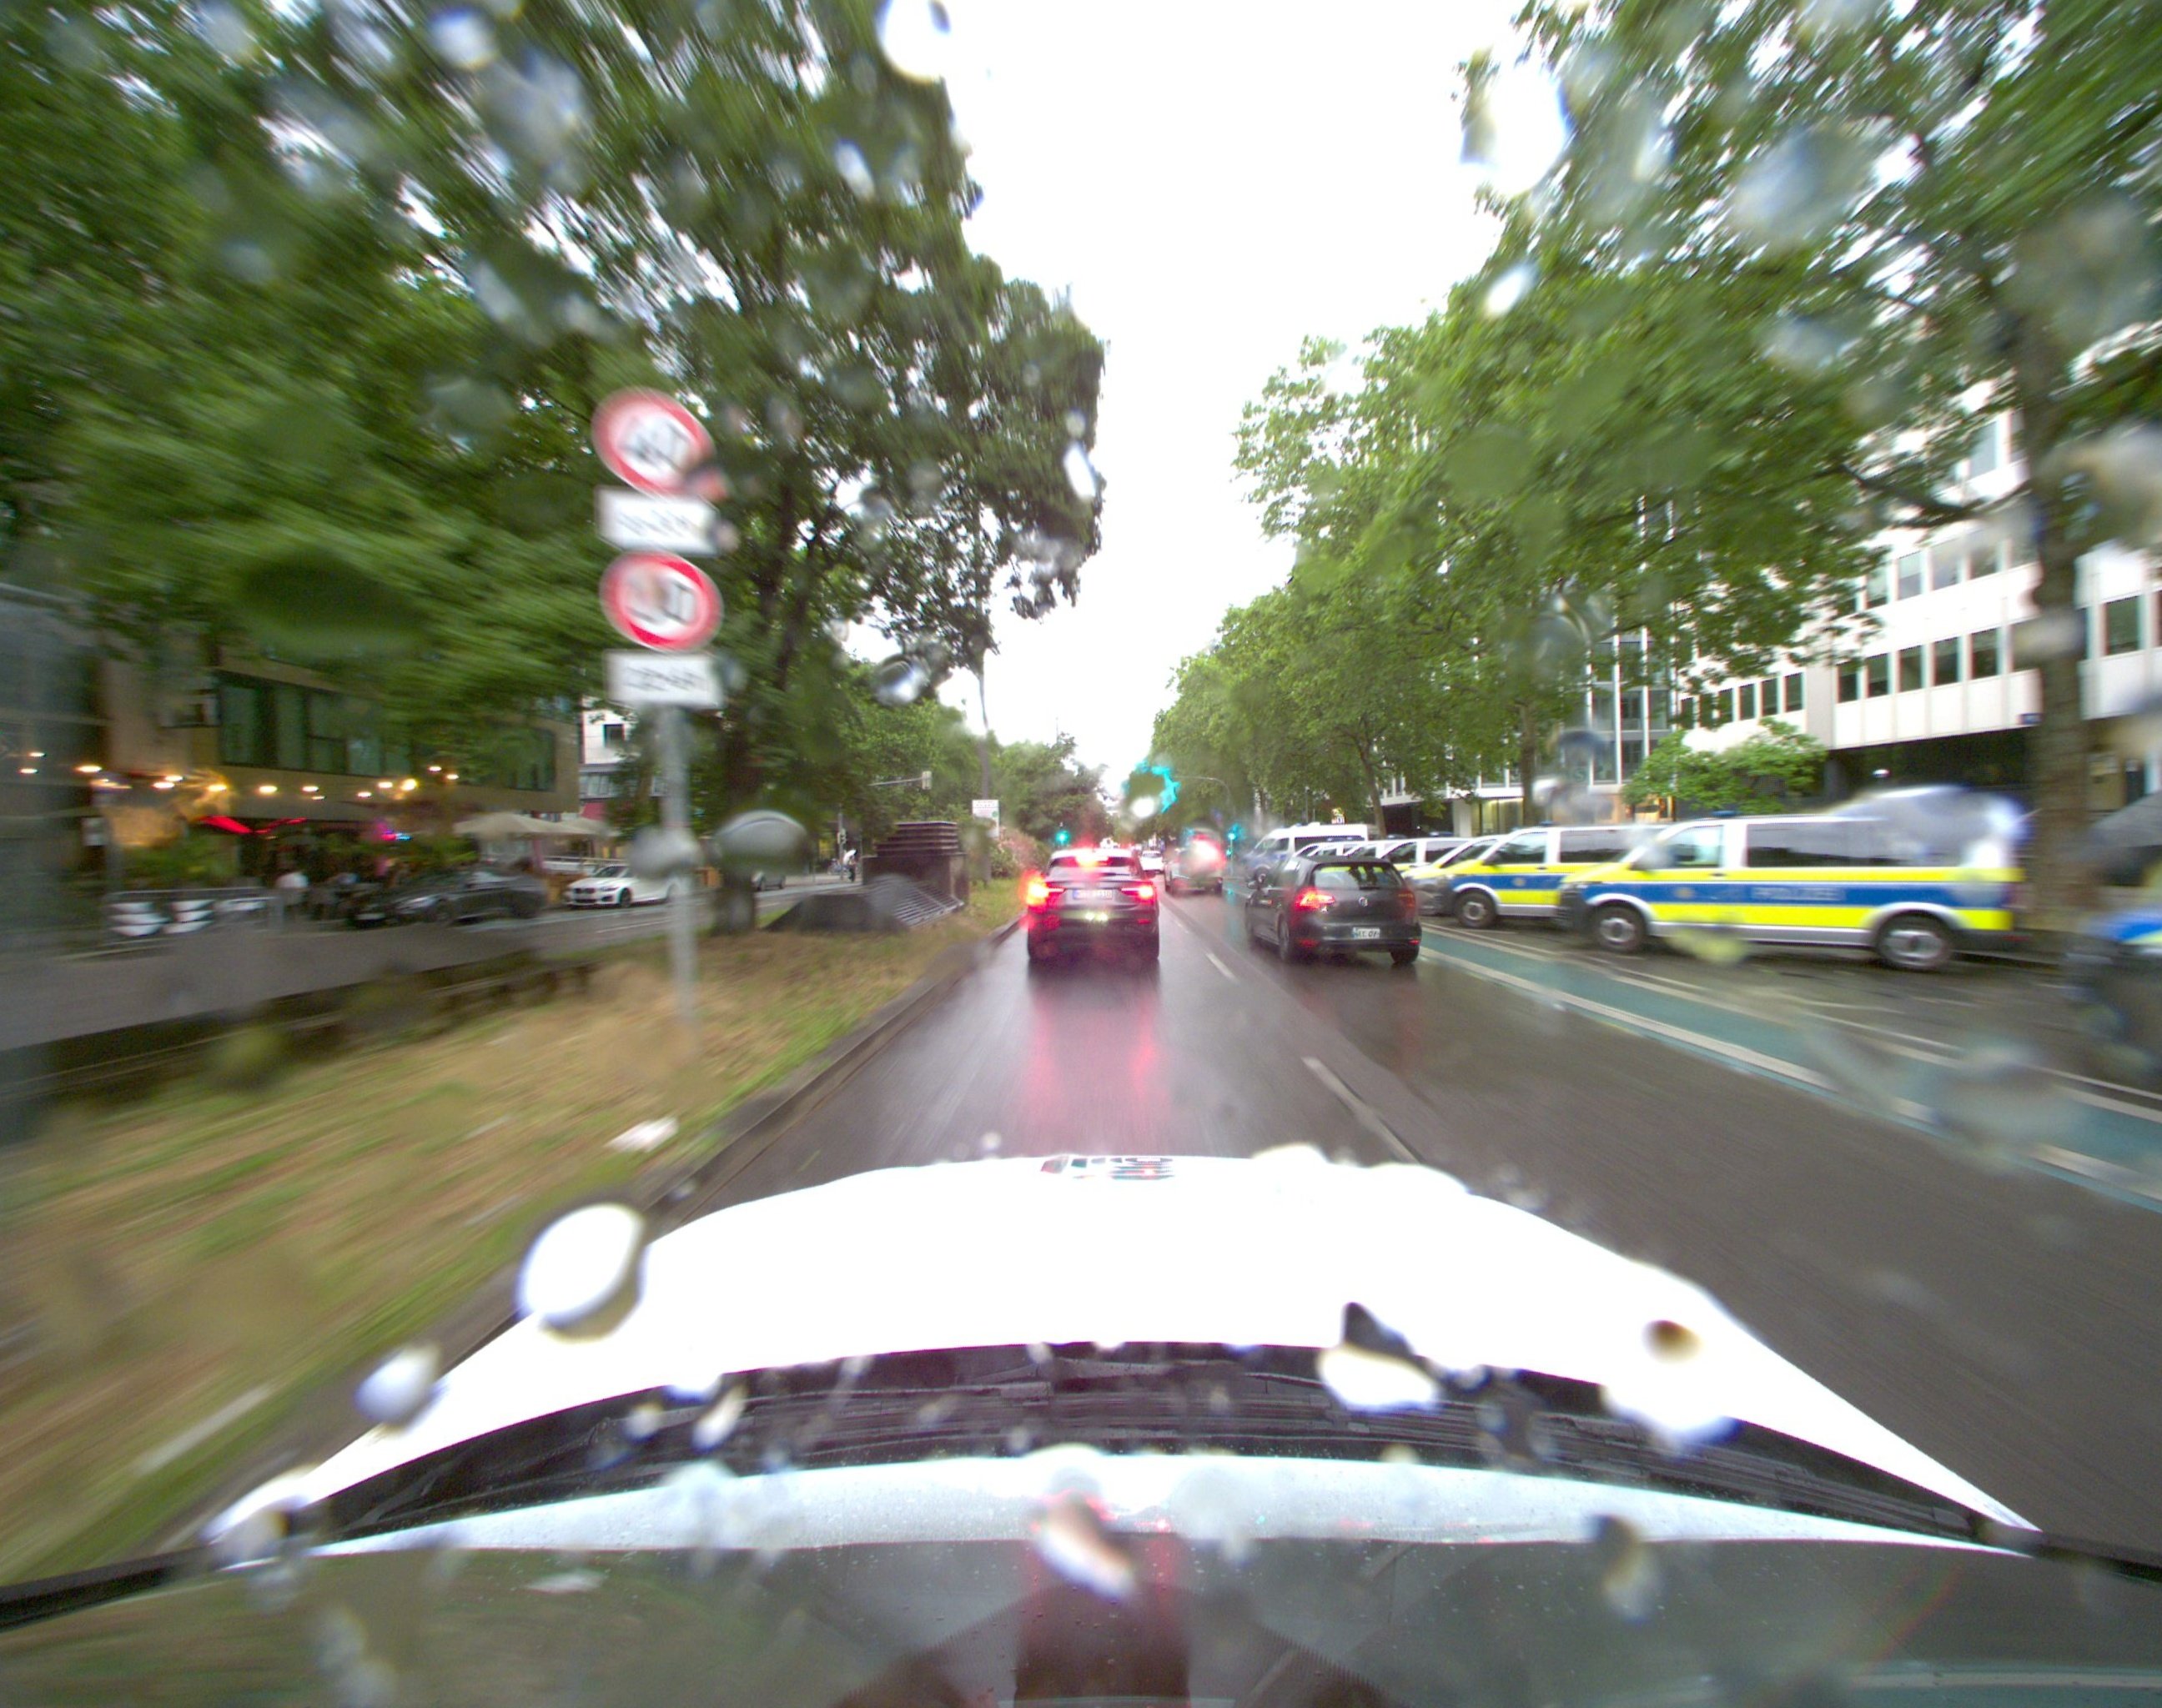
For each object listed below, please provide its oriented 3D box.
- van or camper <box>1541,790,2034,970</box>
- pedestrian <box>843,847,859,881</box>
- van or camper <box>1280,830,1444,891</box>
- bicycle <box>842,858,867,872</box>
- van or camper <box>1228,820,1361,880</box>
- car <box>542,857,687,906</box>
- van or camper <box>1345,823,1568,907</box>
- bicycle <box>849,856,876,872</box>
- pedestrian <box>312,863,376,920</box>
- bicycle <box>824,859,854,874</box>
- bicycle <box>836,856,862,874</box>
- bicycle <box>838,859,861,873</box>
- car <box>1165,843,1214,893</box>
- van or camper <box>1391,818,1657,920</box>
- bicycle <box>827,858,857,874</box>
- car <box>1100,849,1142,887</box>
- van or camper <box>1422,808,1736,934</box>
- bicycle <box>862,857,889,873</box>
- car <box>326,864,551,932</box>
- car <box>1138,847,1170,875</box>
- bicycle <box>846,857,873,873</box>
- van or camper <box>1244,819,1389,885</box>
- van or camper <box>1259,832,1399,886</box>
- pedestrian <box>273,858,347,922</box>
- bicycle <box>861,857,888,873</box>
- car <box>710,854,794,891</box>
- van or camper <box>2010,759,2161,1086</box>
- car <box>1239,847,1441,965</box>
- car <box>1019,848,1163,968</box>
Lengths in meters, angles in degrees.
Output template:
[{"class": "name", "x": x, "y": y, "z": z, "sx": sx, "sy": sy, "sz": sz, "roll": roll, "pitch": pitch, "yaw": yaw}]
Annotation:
[{"class": "van or camper", "x": 9.241, "y": 0.295, "z": 11.240, "sx": 4.792, "sy": 1.998, "sz": 1.880, "roll": -1, "pitch": 0, "yaw": 38}, {"class": "pedestrian", "x": -12.972, "y": 0.573, "z": 45.941, "sx": 0.723, "sy": 1.867, "sz": 0.840, "roll": -1, "pitch": 0, "yaw": -7}, {"class": "van or camper", "x": 9.879, "y": 0.213, "z": 28.825, "sx": 5.142, "sy": 1.992, "sz": 2.013, "roll": 0, "pitch": 0, "yaw": 36}, {"class": "bicycle", "x": -16.109, "y": 0.783, "z": 57.959, "sx": 1.615, "sy": 0.962, "sz": 0.508, "roll": -1, "pitch": 0, "yaw": -6}, {"class": "van or camper", "x": 10.175, "y": -0.155, "z": 39.065, "sx": 5.741, "sy": 2.677, "sz": 2.161, "roll": -1, "pitch": 0, "yaw": 39}, {"class": "car", "x": -15.196, "y": 0.833, "z": 26.871, "sx": 1.986, "sy": 1.370, "sz": 4.542, "roll": 1, "pitch": 1, "yaw": 2}, {"class": "van or camper", "x": 9.991, "y": 0.267, "z": 21.873, "sx": 5.042, "sy": 2.025, "sz": 2.119, "roll": -1, "pitch": 0, "yaw": 39}, {"class": "bicycle", "x": -16.217, "y": 0.743, "z": 60.379, "sx": 1.842, "sy": 1.136, "sz": 0.565, "roll": -1, "pitch": 0, "yaw": -6}, {"class": "pedestrian", "x": -18.526, "y": 0.930, "z": 20.491, "sx": 0.761, "sy": 1.380, "sz": 0.933, "roll": -1, "pitch": 0, "yaw": -1}, {"class": "bicycle", "x": -16.290, "y": 0.850, "z": 54.891, "sx": 1.839, "sy": 0.979, "sz": 0.566, "roll": -1, "pitch": 0, "yaw": -1}, {"class": "bicycle", "x": -16.106, "y": 0.773, "z": 56.531, "sx": 1.615, "sy": 1.241, "sz": 0.508, "roll": -1, "pitch": 0, "yaw": -6}, {"class": "bicycle", "x": -16.283, "y": 0.840, "z": 57.287, "sx": 1.461, "sy": 0.979, "sz": 0.565, "roll": -1, "pitch": 0, "yaw": -7}, {"class": "car", "x": 3.857, "y": 0.469, "z": 29.314, "sx": 1.427, "sy": 1.685, "sz": 2.981, "roll": -2, "pitch": 0, "yaw": 2}, {"class": "van or camper", "x": 9.778, "y": 0.317, "z": 18.179, "sx": 4.959, "sy": 1.995, "sz": 2.013, "roll": -1, "pitch": 0, "yaw": 34}, {"class": "bicycle", "x": -16.395, "y": 0.820, "z": 55.889, "sx": 1.842, "sy": 1.098, "sz": 0.613, "roll": -1, "pitch": 0, "yaw": -6}, {"class": "car", "x": 1.744, "y": 0.572, "z": 36.320, "sx": 1.715, "sy": 1.577, "sz": 3.963, "roll": -1, "pitch": 0, "yaw": 2}, {"class": "van or camper", "x": 9.146, "y": 0.284, "z": 15.205, "sx": 4.733, "sy": 2.011, "sz": 2.013, "roll": -1, "pitch": 0, "yaw": 38}, {"class": "bicycle", "x": -15.443, "y": 0.808, "z": 61.198, "sx": 1.841, "sy": 1.136, "sz": 0.565, "roll": -2, "pitch": 0, "yaw": -5}, {"class": "car", "x": -15.494, "y": 0.984, "z": 20.024, "sx": 1.818, "sy": 1.394, "sz": 4.486, "roll": -1, "pitch": 0, "yaw": 2}, {"class": "car", "x": 4.967, "y": 0.444, "z": 55.713, "sx": 1.986, "sy": 1.750, "sz": 4.002, "roll": -1, "pitch": 0, "yaw": 2}, {"class": "bicycle", "x": -16.236, "y": 0.786, "z": 59.635, "sx": 1.818, "sy": 1.097, "sz": 0.565, "roll": -1, "pitch": 0, "yaw": -6}, {"class": "van or camper", "x": 10.228, "y": -0.062, "z": 35.680, "sx": 5.737, "sy": 2.680, "sz": 2.013, "roll": -1, "pitch": 0, "yaw": 37}, {"class": "van or camper", "x": 9.853, "y": 0.239, "z": 32.560, "sx": 4.952, "sy": 2.014, "sz": 2.013, "roll": -1, "pitch": -1, "yaw": 37}, {"class": "pedestrian", "x": -18.402, "y": 0.837, "z": 19.466, "sx": 0.827, "sy": 1.488, "sz": 0.973, "roll": -1, "pitch": 0, "yaw": -1}, {"class": "bicycle", "x": -15.655, "y": 0.814, "z": 61.832, "sx": 1.841, "sy": 1.149, "sz": 0.565, "roll": -2, "pitch": 0, "yaw": -5}, {"class": "car", "x": -14.982, "y": 0.809, "z": 37.401, "sx": 1.987, "sy": 1.509, "sz": 4.517, "roll": -2, "pitch": 0, "yaw": 0}, {"class": "van or camper", "x": 9.084, "y": 0.436, "z": 4.426, "sx": 5.023, "sy": 2.019, "sz": 2.010, "roll": 0, "pitch": 0, "yaw": 38}, {"class": "car", "x": 3.586, "y": 0.624, "z": 12.043, "sx": 1.759, "sy": 1.412, "sz": 4.001, "roll": -2, "pitch": 0, "yaw": 1}, {"class": "car", "x": 0.262, "y": 0.691, "z": 12.904, "sx": 1.855, "sy": 1.532, "sz": 4.531, "roll": -1, "pitch": 0, "yaw": 3}]
